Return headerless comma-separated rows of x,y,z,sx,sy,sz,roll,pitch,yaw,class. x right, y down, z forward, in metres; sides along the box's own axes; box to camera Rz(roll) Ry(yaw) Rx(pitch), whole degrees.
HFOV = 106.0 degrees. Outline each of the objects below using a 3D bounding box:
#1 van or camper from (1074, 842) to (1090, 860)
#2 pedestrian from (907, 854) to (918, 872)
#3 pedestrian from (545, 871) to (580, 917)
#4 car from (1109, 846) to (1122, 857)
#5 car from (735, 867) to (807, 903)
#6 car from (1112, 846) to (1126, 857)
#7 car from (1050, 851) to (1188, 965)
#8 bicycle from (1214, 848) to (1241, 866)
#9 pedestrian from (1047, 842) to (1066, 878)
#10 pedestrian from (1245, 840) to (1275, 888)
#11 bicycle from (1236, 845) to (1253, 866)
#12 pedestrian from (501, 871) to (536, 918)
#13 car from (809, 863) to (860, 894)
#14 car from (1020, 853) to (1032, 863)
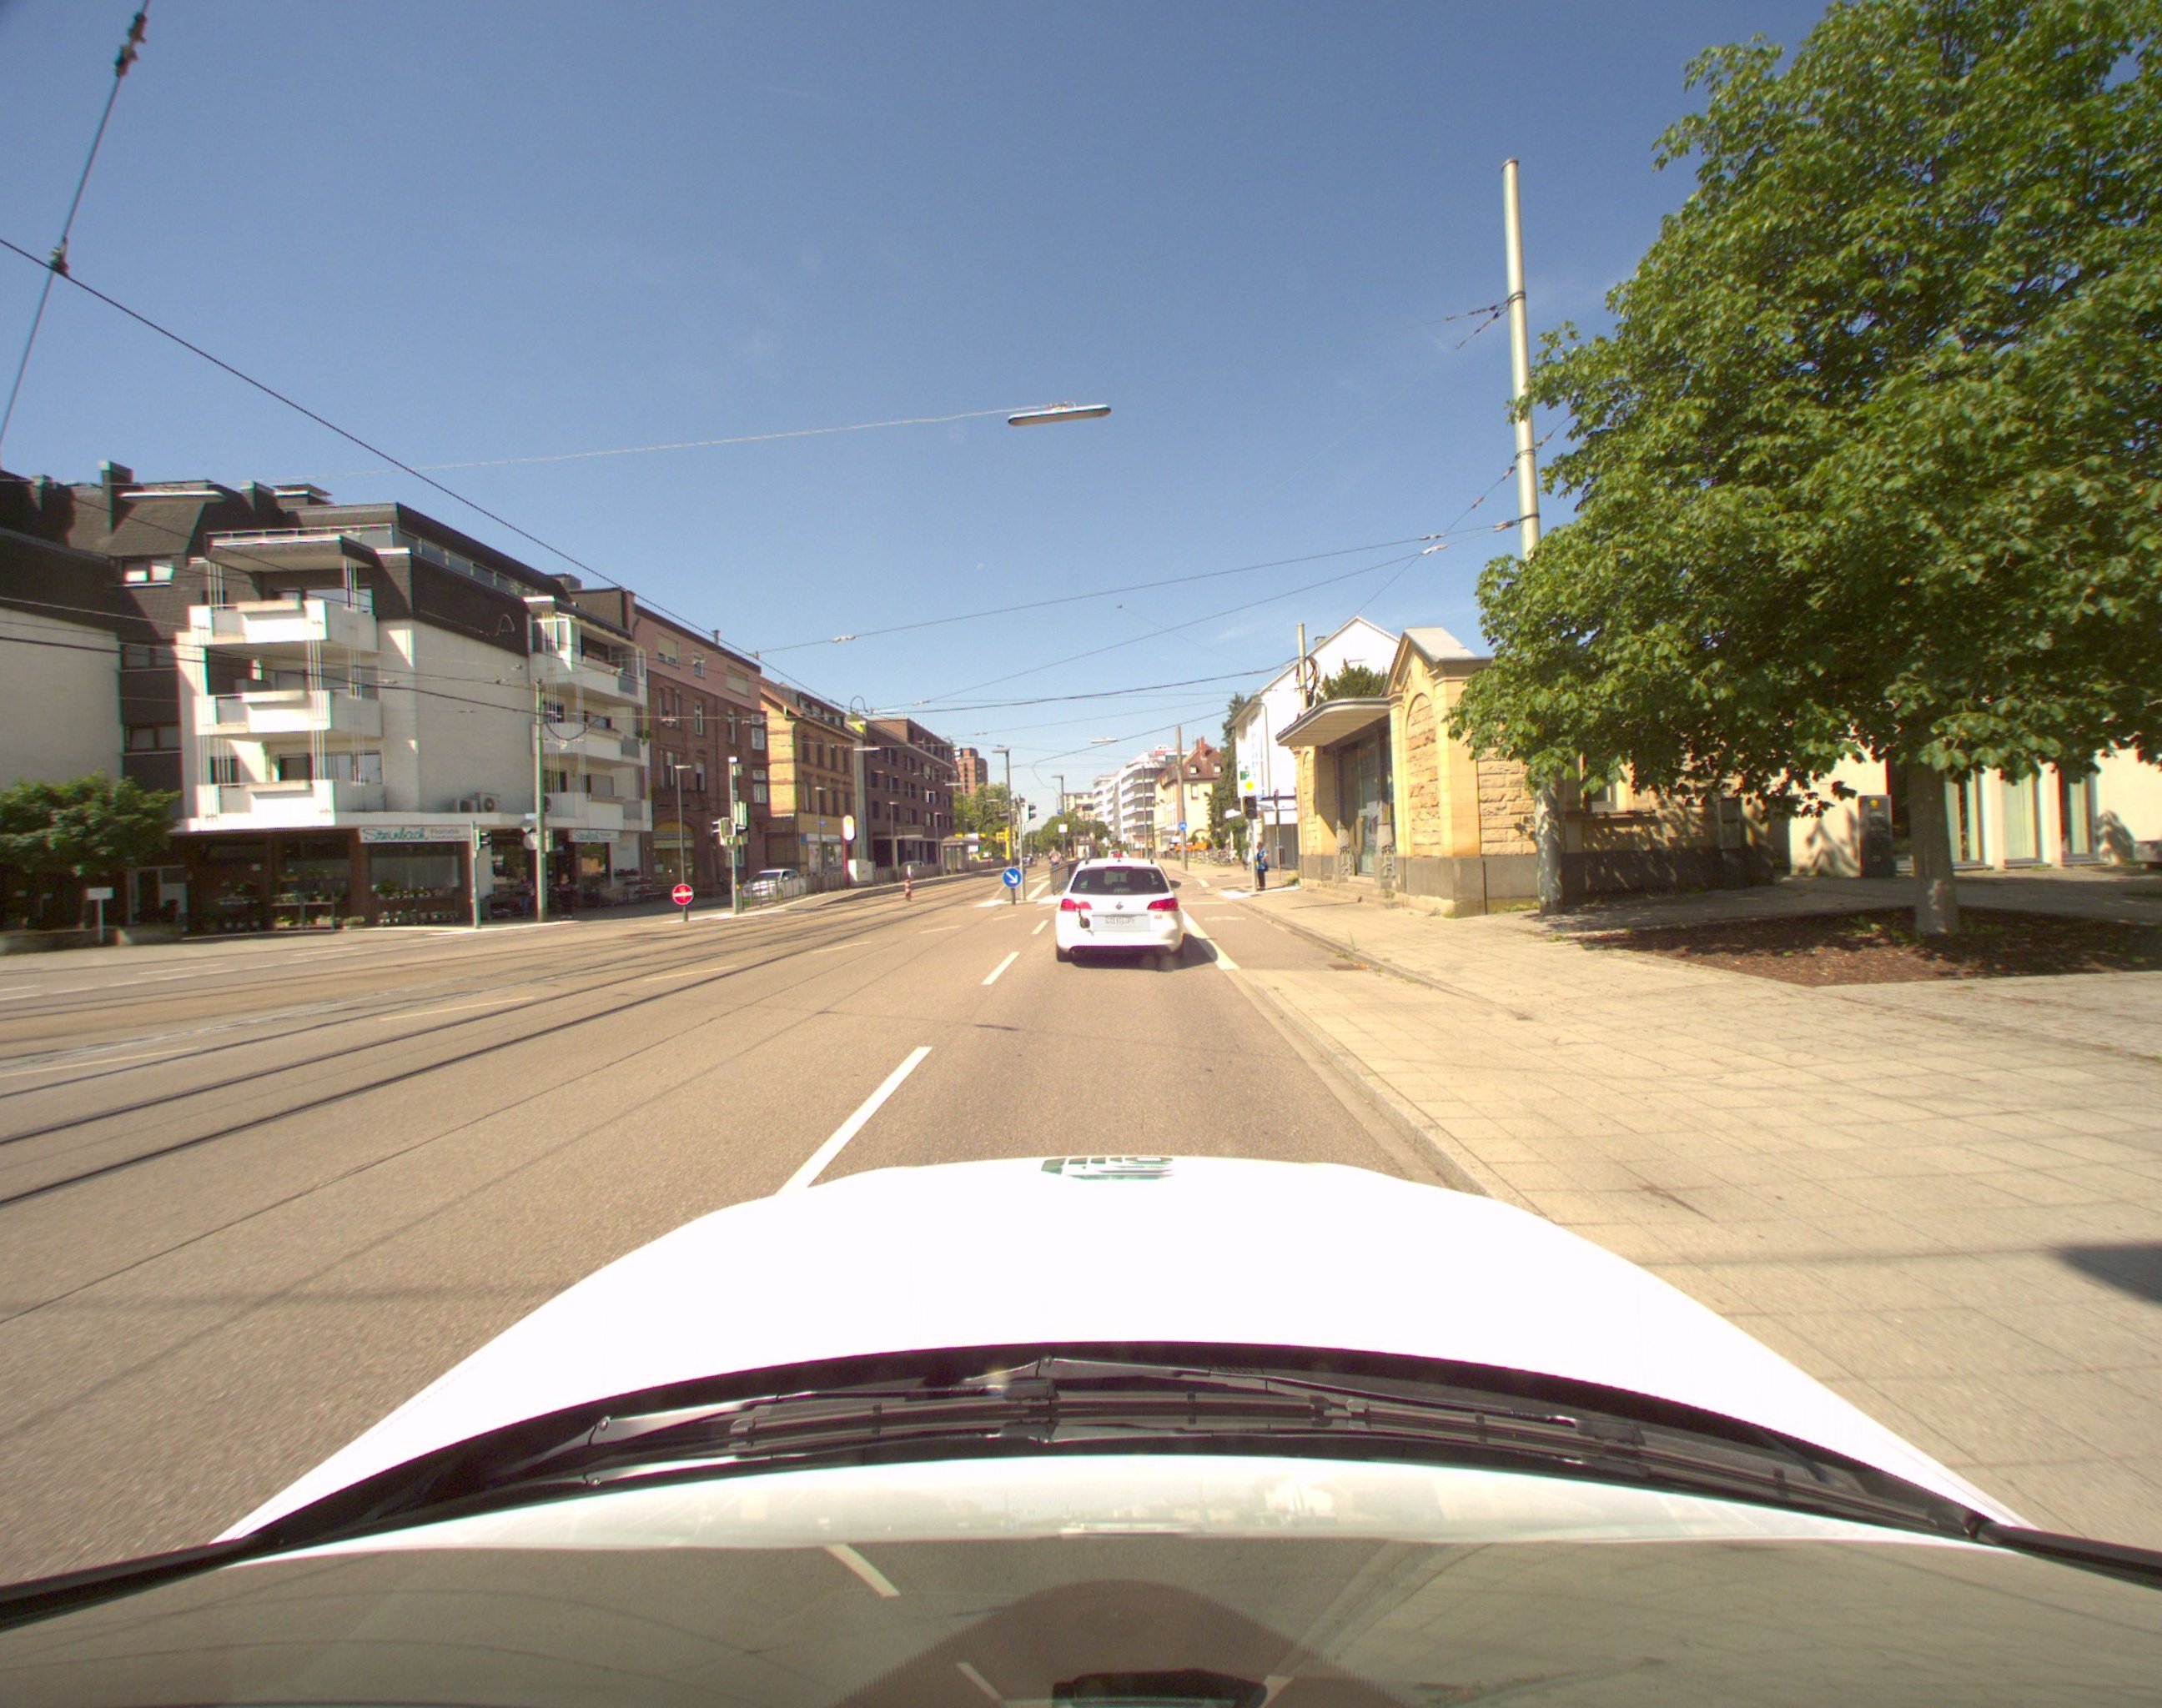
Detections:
0.199,-0.547,157.965,2.935,3.179,6.611,-3,0,0,van or camper
-17.371,0.877,84.022,0.722,1.790,0.965,-4,0,2,pedestrian
-19.072,1.458,29.975,0.881,1.647,0.676,-3,0,-20,pedestrian
6.456,-0.439,153.450,1.988,2.013,3.997,-3,0,-2,car
-13.891,1.342,36.680,1.620,1.431,3.964,-2,0,1,car
6.897,-0.453,148.008,1.988,2.013,3.997,-3,0,-2,car
0.581,0.683,12.302,1.745,1.417,3.856,-1,0,3,car
10.265,0.195,57.080,1.704,1.130,0.526,-3,0,4,bicycle
-1.272,0.285,41.935,0.823,1.809,0.834,-3,0,3,pedestrian
5.790,0.309,26.340,0.772,1.510,0.863,-3,0,20,pedestrian
9.220,0.070,45.938,0.720,1.139,2.204,-3,0,15,bicycle
-20.310,1.459,29.411,0.676,1.647,0.732,-3,0,2,pedestrian
-13.388,1.287,44.427,1.568,1.459,3.813,-3,0,-1,car
-9.349,0.675,138.978,1.661,1.466,3.775,-3,0,2,car
